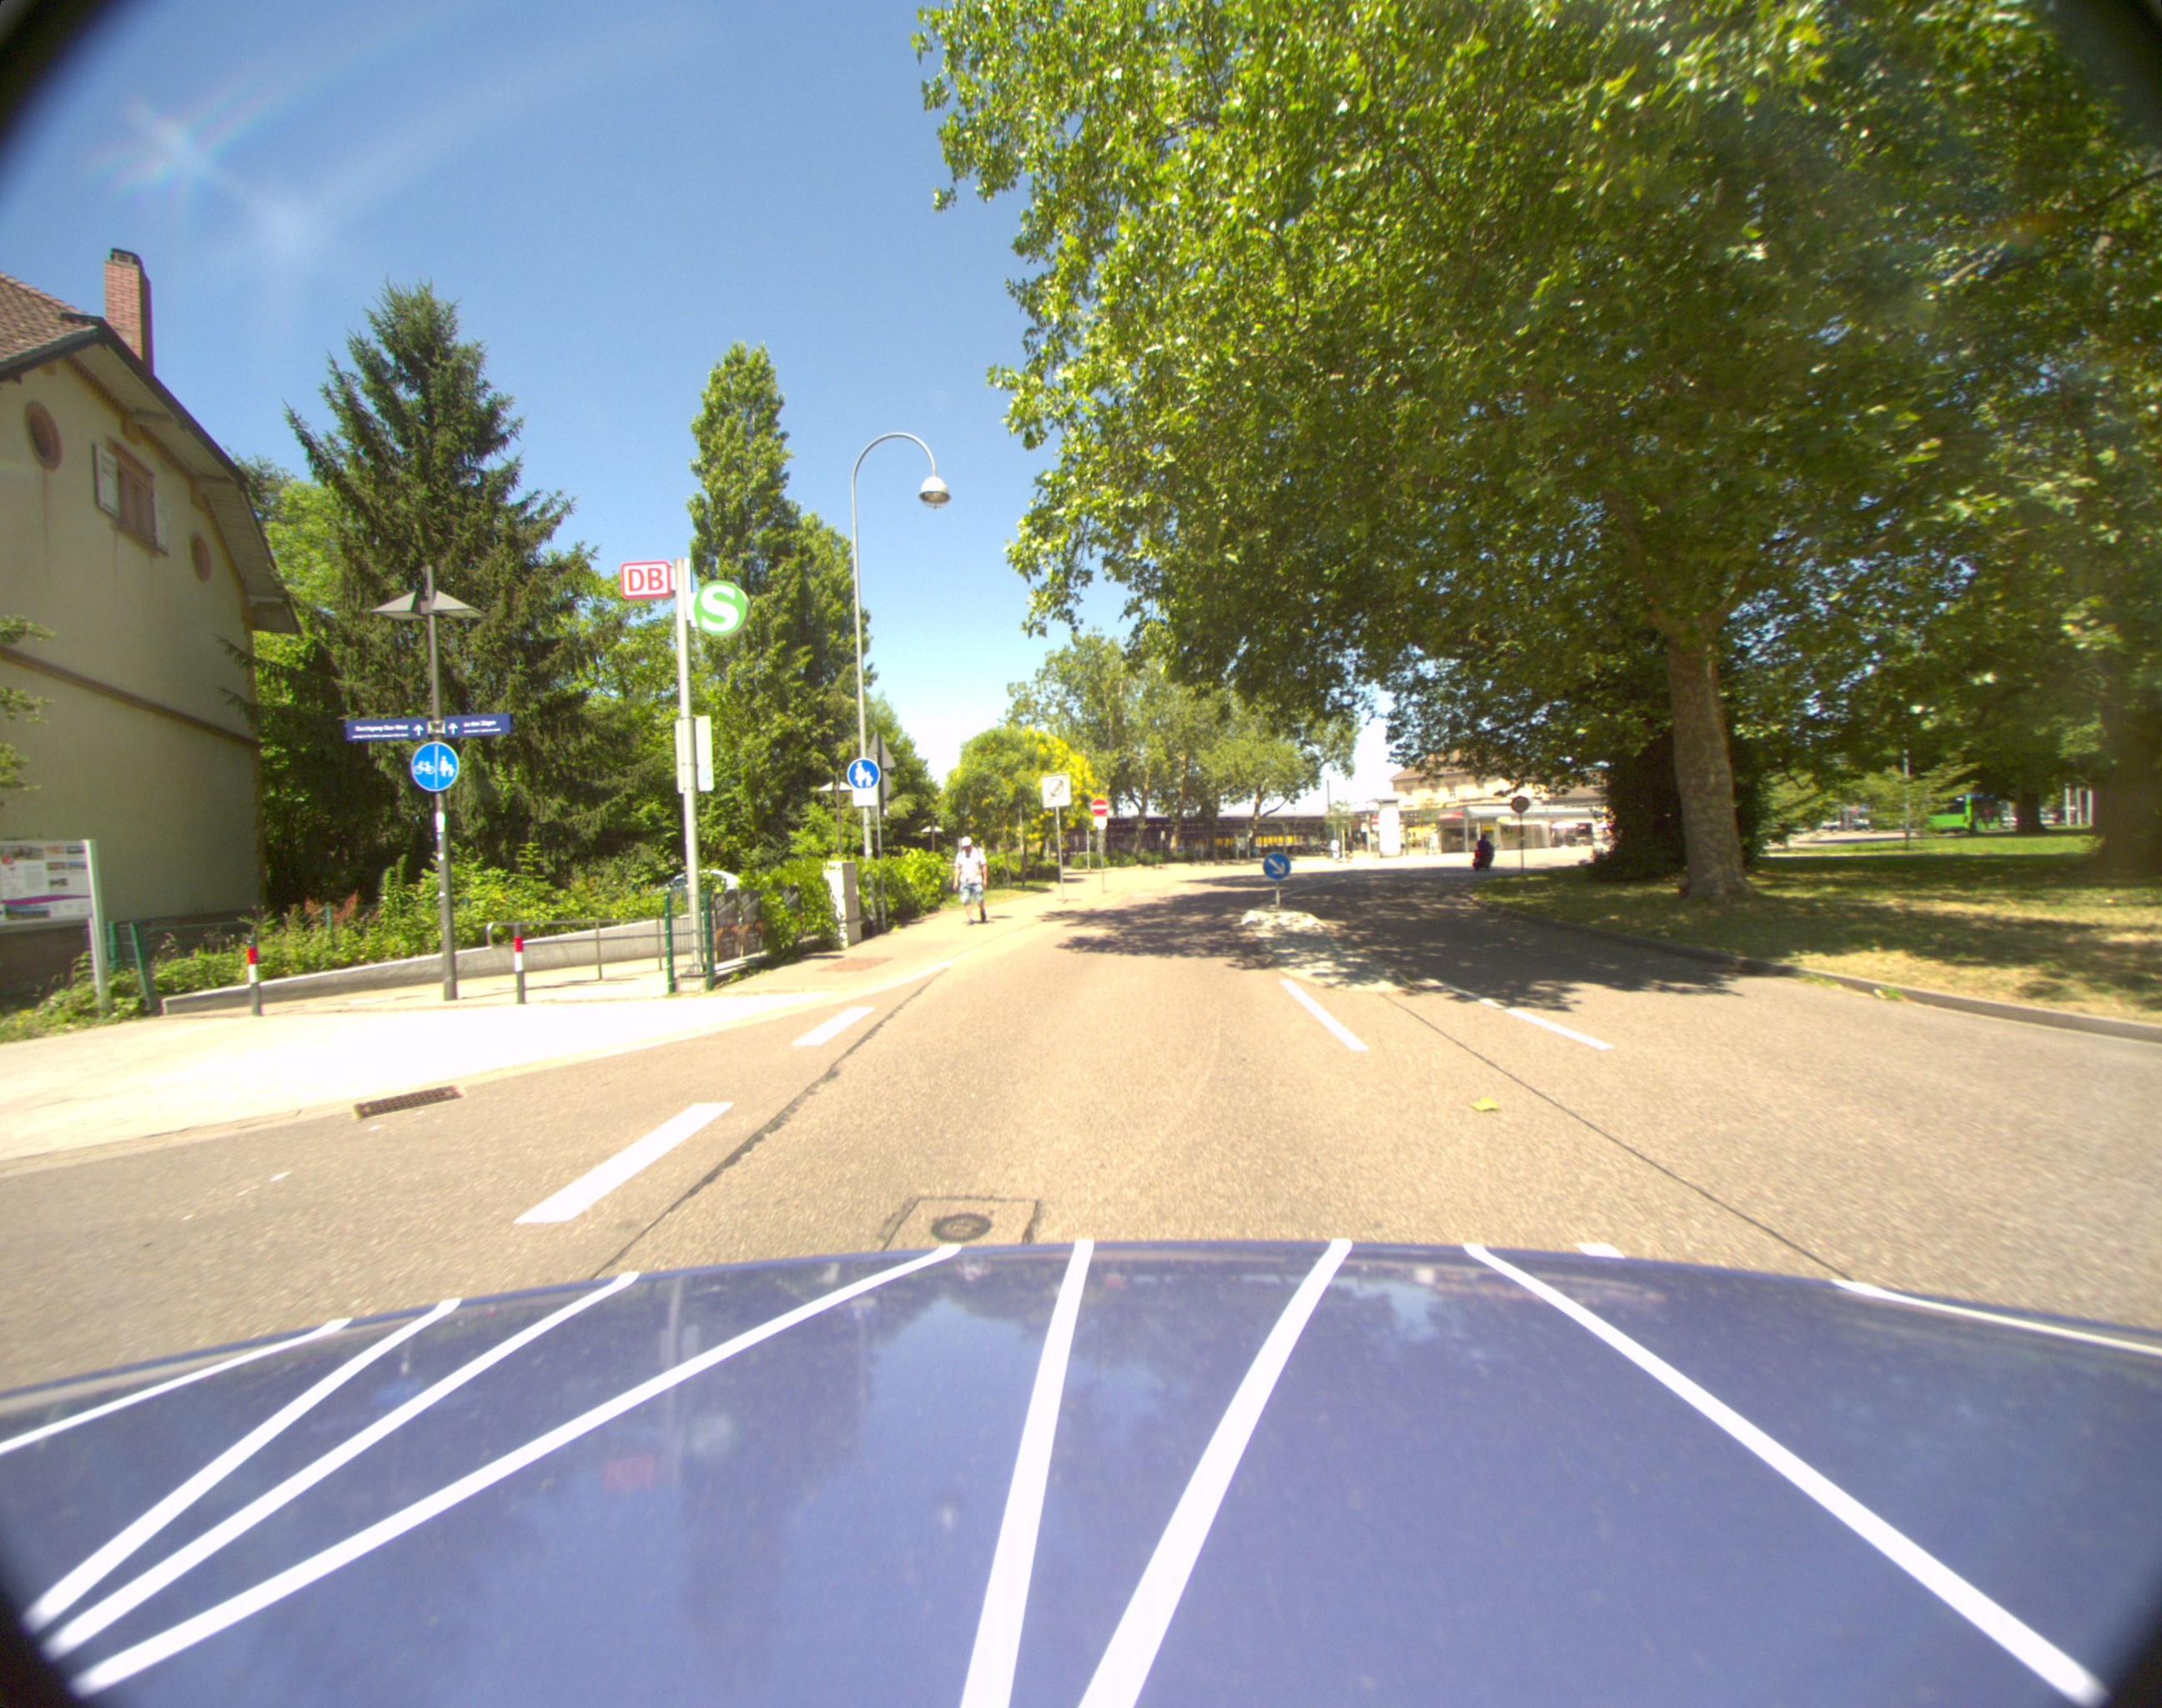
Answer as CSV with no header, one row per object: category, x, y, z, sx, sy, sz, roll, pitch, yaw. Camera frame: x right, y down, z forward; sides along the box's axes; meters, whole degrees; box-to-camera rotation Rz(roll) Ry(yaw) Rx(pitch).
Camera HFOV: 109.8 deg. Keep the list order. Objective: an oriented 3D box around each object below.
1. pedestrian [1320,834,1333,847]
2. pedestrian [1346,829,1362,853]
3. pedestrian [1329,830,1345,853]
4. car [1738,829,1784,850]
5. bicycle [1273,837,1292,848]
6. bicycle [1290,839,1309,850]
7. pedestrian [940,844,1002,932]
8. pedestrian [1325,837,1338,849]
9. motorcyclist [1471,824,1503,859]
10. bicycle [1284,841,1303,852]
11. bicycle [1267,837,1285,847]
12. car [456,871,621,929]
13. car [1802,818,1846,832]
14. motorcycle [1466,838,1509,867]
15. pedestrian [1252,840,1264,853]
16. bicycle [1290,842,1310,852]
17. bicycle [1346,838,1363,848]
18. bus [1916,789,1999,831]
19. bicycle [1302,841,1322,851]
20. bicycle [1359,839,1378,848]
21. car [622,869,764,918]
pedestrian,26.342,-1.418,81.628,0.832,1.378,0.961,-3,1,-30
pedestrian,20.854,-1.007,58.142,0.914,1.775,0.695,-3,1,-1
pedestrian,19.615,-0.961,58.243,0.916,1.726,0.674,-3,1,-27
car,48.254,-1.062,53.883,4.007,1.409,1.641,-2,2,-37
bicycle,23.854,-1.364,89.865,2.172,1.068,0.669,-6,4,-27
bicycle,25.176,-1.118,87.539,2.172,1.068,0.669,-6,4,-27
pedestrian,-2.263,0.669,15.715,0.913,1.762,0.916,0,2,19
pedestrian,27.097,-1.212,82.143,0.832,1.297,0.961,-3,1,-30
motorcyclist,18.355,-0.575,34.319,1.106,1.546,0.808,-3,1,-33
bicycle,24.749,-0.876,88.447,2.172,1.068,0.669,-6,4,-27
bicycle,23.311,-1.460,90.926,2.172,1.068,0.669,-6,4,-27
car,-16.999,1.394,24.046,3.974,1.527,1.652,-3,1,-27
car,102.702,-4.003,105.096,2.003,1.655,3.990,-3,0,-34
motorcycle,18.359,-0.074,34.319,2.054,1.224,0.808,-3,1,-33
pedestrian,17.829,-0.741,76.468,0.869,1.267,0.829,-3,1,-34
bicycle,23.970,-0.753,83.170,0.671,1.068,2.164,-7,4,-33
bicycle,33.614,-1.346,93.479,2.172,1.068,0.669,-6,4,-27
bus,76.371,-3.814,66.132,11.875,3.283,2.810,-3,1,-32
bicycle,25.516,-0.904,84.032,0.671,1.068,2.164,-7,4,-33
bicycle,33.870,-1.245,89.525,0.671,1.068,2.164,-6,4,-27
car,-14.365,1.405,28.207,4.506,1.491,1.766,-3,1,-31
